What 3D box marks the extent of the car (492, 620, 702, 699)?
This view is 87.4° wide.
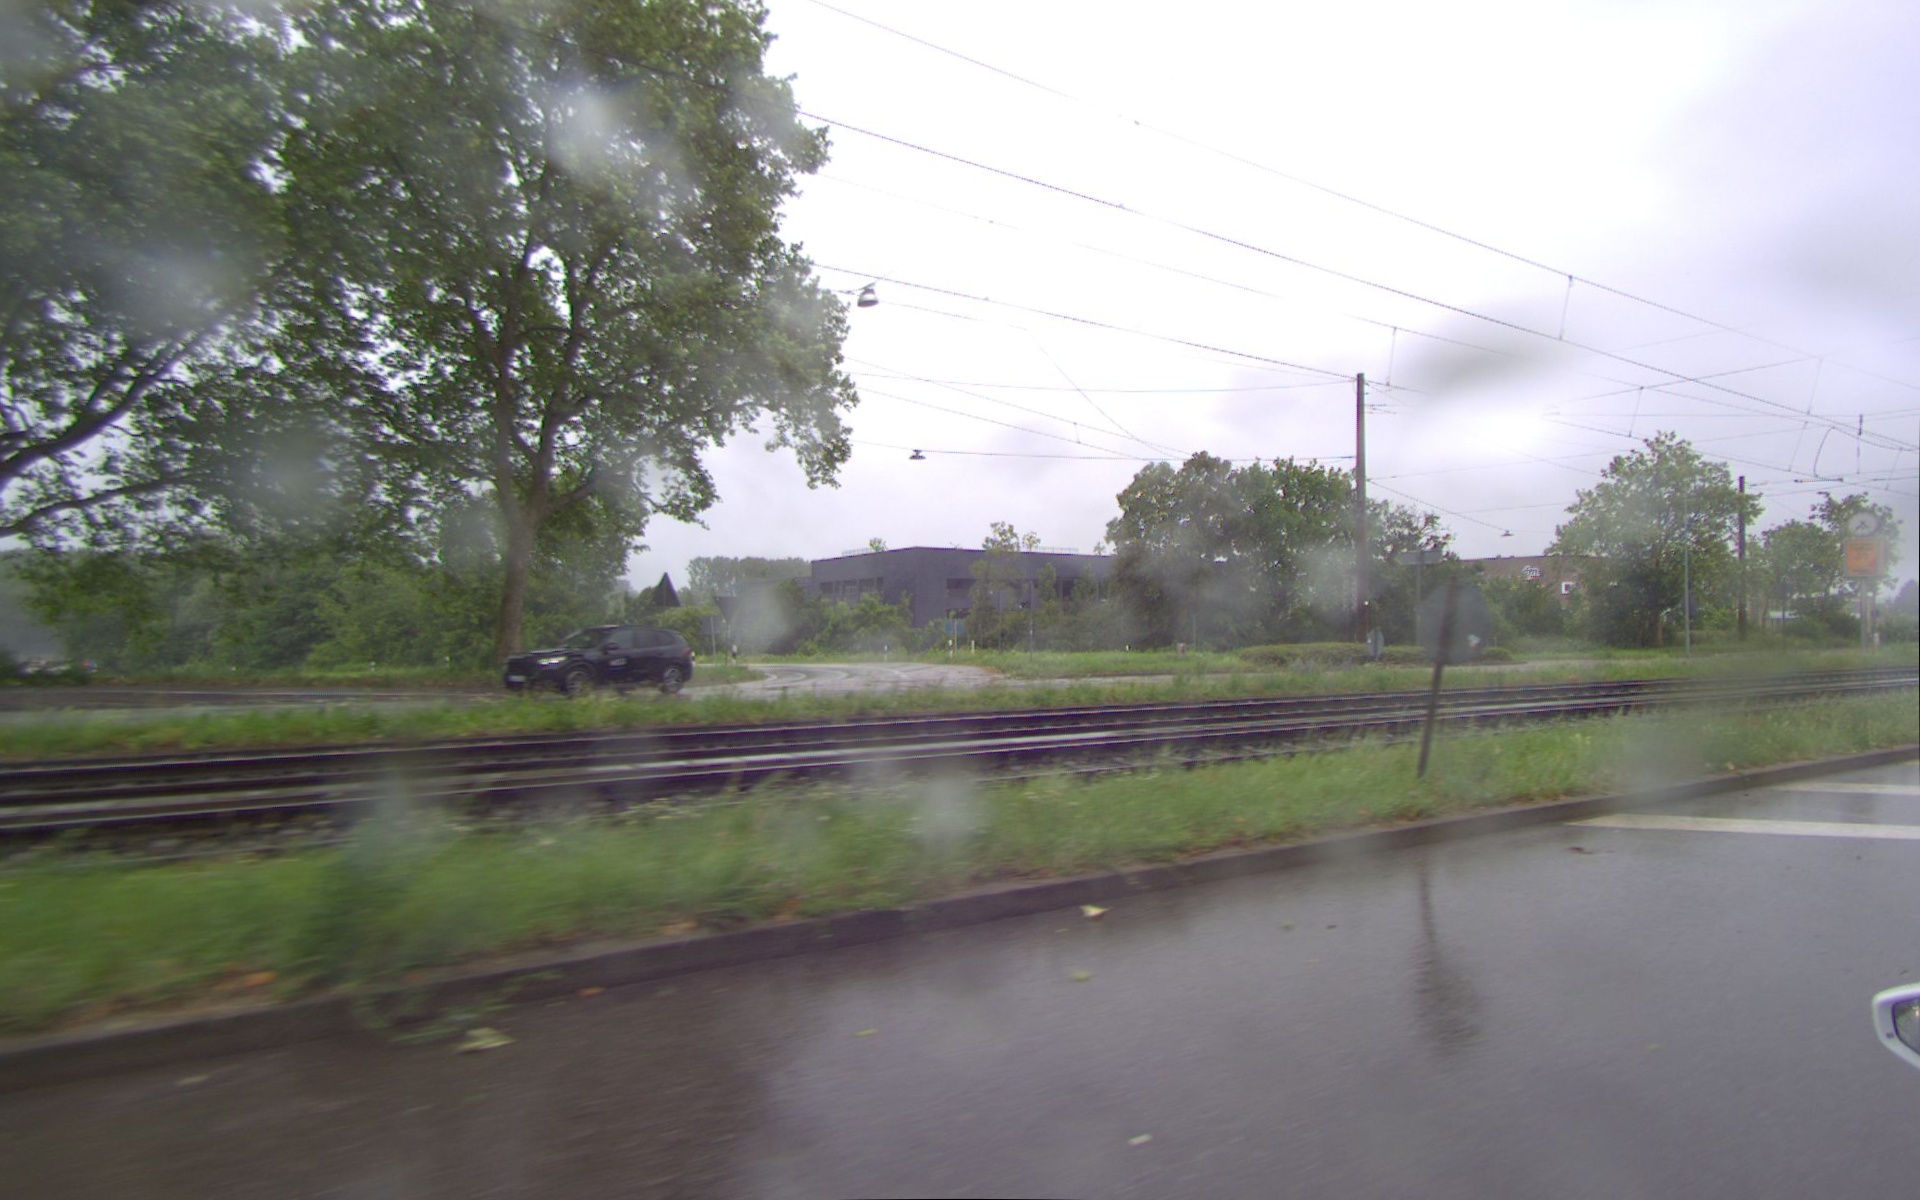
[{"bbox_3d":[-7.998,1.253,22.595,2.176,1.548,4.278,0,-1,21],"label":"car"}]
